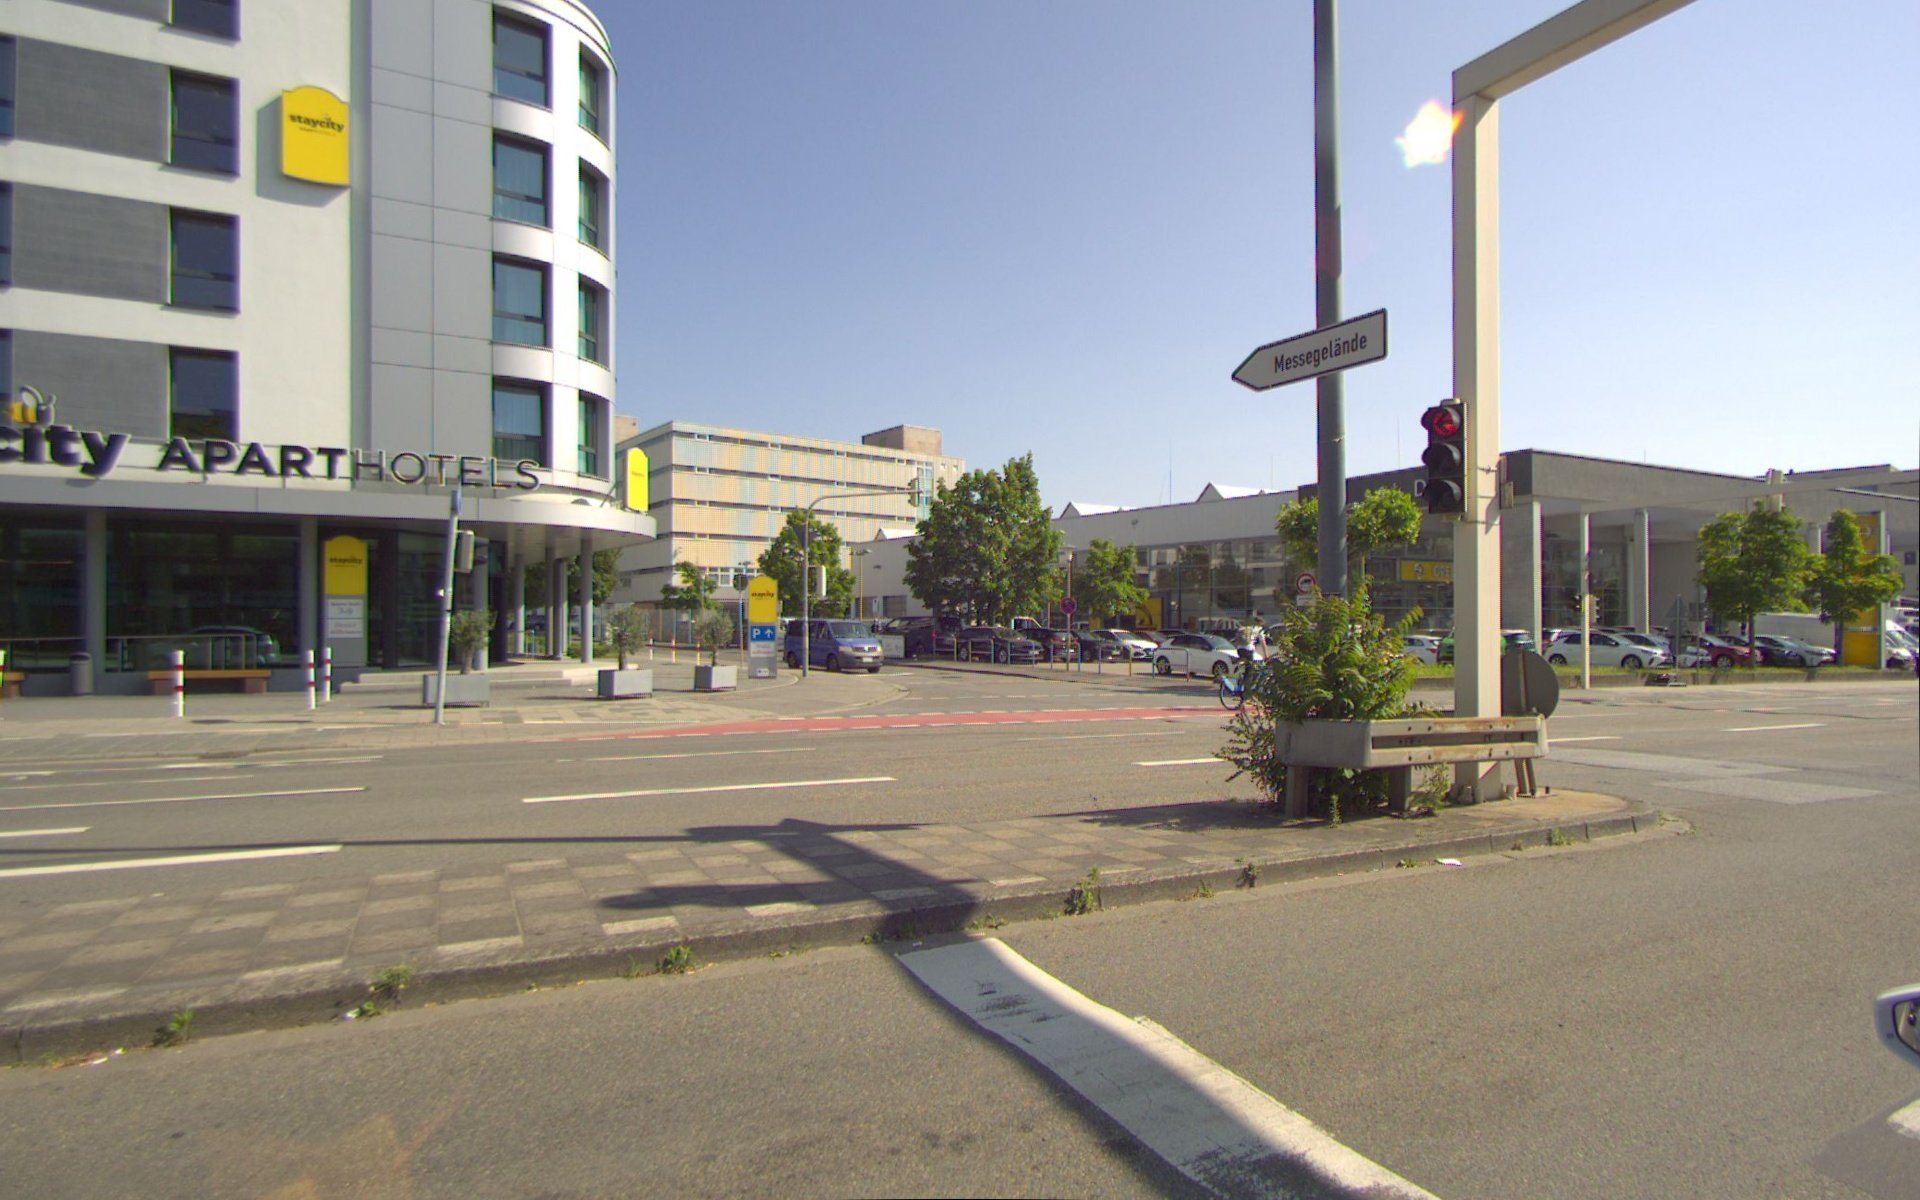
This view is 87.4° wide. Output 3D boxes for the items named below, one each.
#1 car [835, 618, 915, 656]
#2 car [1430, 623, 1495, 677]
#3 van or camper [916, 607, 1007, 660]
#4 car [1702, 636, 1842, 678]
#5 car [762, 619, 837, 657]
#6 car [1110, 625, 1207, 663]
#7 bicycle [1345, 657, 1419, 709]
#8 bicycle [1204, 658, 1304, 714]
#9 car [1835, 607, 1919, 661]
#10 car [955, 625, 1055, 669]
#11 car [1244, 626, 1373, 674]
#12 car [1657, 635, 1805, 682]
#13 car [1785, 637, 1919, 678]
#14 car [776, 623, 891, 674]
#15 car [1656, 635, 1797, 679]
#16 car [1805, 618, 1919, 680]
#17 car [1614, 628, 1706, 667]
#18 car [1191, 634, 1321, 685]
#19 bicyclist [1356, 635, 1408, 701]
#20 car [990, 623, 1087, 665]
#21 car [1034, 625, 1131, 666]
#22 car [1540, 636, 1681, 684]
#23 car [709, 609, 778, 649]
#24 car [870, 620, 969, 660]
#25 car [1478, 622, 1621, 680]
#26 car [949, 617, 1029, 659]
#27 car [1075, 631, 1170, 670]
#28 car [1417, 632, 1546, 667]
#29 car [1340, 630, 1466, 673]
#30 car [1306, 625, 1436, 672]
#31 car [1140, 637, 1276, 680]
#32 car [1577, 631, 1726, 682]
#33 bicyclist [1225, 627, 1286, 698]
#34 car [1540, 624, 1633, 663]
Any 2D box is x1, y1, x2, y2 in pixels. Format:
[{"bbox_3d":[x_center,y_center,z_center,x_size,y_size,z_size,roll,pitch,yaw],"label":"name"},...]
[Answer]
[{"bbox_3d":[-4.464,1.912,52.367,3.943,1.710,1.990,1,-2,43],"label":"car"},{"bbox_3d":[17.335,1.745,34.782,1.870,1.756,3.293,0,-3,25],"label":"car"},{"bbox_3d":[0.023,1.599,48.437,1.982,2.432,4.680,2,-2,-37],"label":"van or camper"},{"bbox_3d":[35.214,2.435,43.681,1.977,1.718,4.335,2,-2,-31],"label":"car"},{"bbox_3d":[-8.768,2.047,54.605,1.970,1.815,4.378,3,-1,-40],"label":"car"},{"bbox_3d":[9.421,2.087,47.929,1.981,1.718,4.326,2,-2,-36],"label":"car"},{"bbox_3d":[9.923,1.920,23.583,2.145,1.131,0.761,2,-2,-41],"label":"bicycle"},{"bbox_3d":[6.288,1.810,21.441,2.135,1.131,0.765,2,-2,-29],"label":"bicycle"},{"bbox_3d":[46.896,1.688,50.200,1.972,2.635,4.347,1,-2,-23],"label":"car"},{"bbox_3d":[1.805,1.889,41.440,1.979,1.718,4.330,2,-2,-34],"label":"car"},{"bbox_3d":[13.263,1.852,38.448,1.982,1.718,4.325,2,-2,-37],"label":"car"},{"bbox_3d":[30.894,2.295,40.370,1.977,1.719,4.335,2,-2,-30],"label":"car"},{"bbox_3d":[40.581,2.576,45.697,1.972,1.718,4.347,1,-2,-23],"label":"car"},{"bbox_3d":[-4.697,1.729,36.664,1.983,1.737,4.775,2,-2,-39],"label":"car"},{"bbox_3d":[32.288,2.370,42.438,1.977,1.718,4.335,2,-2,-31],"label":"car"},{"bbox_3d":[42.677,2.236,46.922,2.096,2.719,4.492,1,-2,-20],"label":"car"},{"bbox_3d":[40.915,2.757,58.812,1.979,2.040,3.964,2,-1,-33],"label":"car"},{"bbox_3d":[10.730,2.119,36.685,1.979,1.718,4.330,2,-2,-34],"label":"car"},{"bbox_3d":[9.912,1.579,23.575,1.019,1.479,0.761,2,-2,-42],"label":"bicyclist"},{"bbox_3d":[3.347,1.892,43.769,1.979,1.718,4.330,2,-2,-34],"label":"car"},{"bbox_3d":[5.383,1.979,44.739,1.979,1.718,4.330,2,-2,-34],"label":"car"},{"bbox_3d":[23.943,2.162,37.092,1.980,1.620,3.961,2,-2,-35],"label":"car"},{"bbox_3d":[-12.683,1.668,58.652,1.984,2.158,4.567,3,-1,-40],"label":"car"},{"bbox_3d":[-1.872,1.790,45.721,4.306,1.718,1.990,-1,-2,41],"label":"car"},{"bbox_3d":[20.426,1.730,34.929,1.977,1.862,3.851,2,-2,-31],"label":"car"},{"bbox_3d":[1.421,1.896,50.711,1.982,2.040,3.958,2,-2,-37],"label":"car"},{"bbox_3d":[7.475,2.307,46.570,1.979,1.718,4.330,2,-2,-34],"label":"car"},{"bbox_3d":[21.339,2.031,41.247,1.981,1.284,4.327,4,-4,-36],"label":"car"},{"bbox_3d":[17.996,2.054,40.960,1.981,1.611,4.327,2,-2,-36],"label":"car"},{"bbox_3d":[15.979,1.842,39.207,1.982,1.718,4.325,2,-2,-37],"label":"car"},{"bbox_3d":[8.409,1.967,34.373,1.979,1.317,4.330,2,-2,-34],"label":"car"},{"bbox_3d":[26.264,2.106,38.282,1.977,1.789,4.276,2,-2,-31],"label":"car"},{"bbox_3d":[6.318,1.317,21.473,1.014,1.479,0.765,1,-2,-27],"label":"bicyclist"},{"bbox_3d":[35.321,2.436,56.729,1.979,2.040,3.964,2,-1,-33],"label":"car"}]
